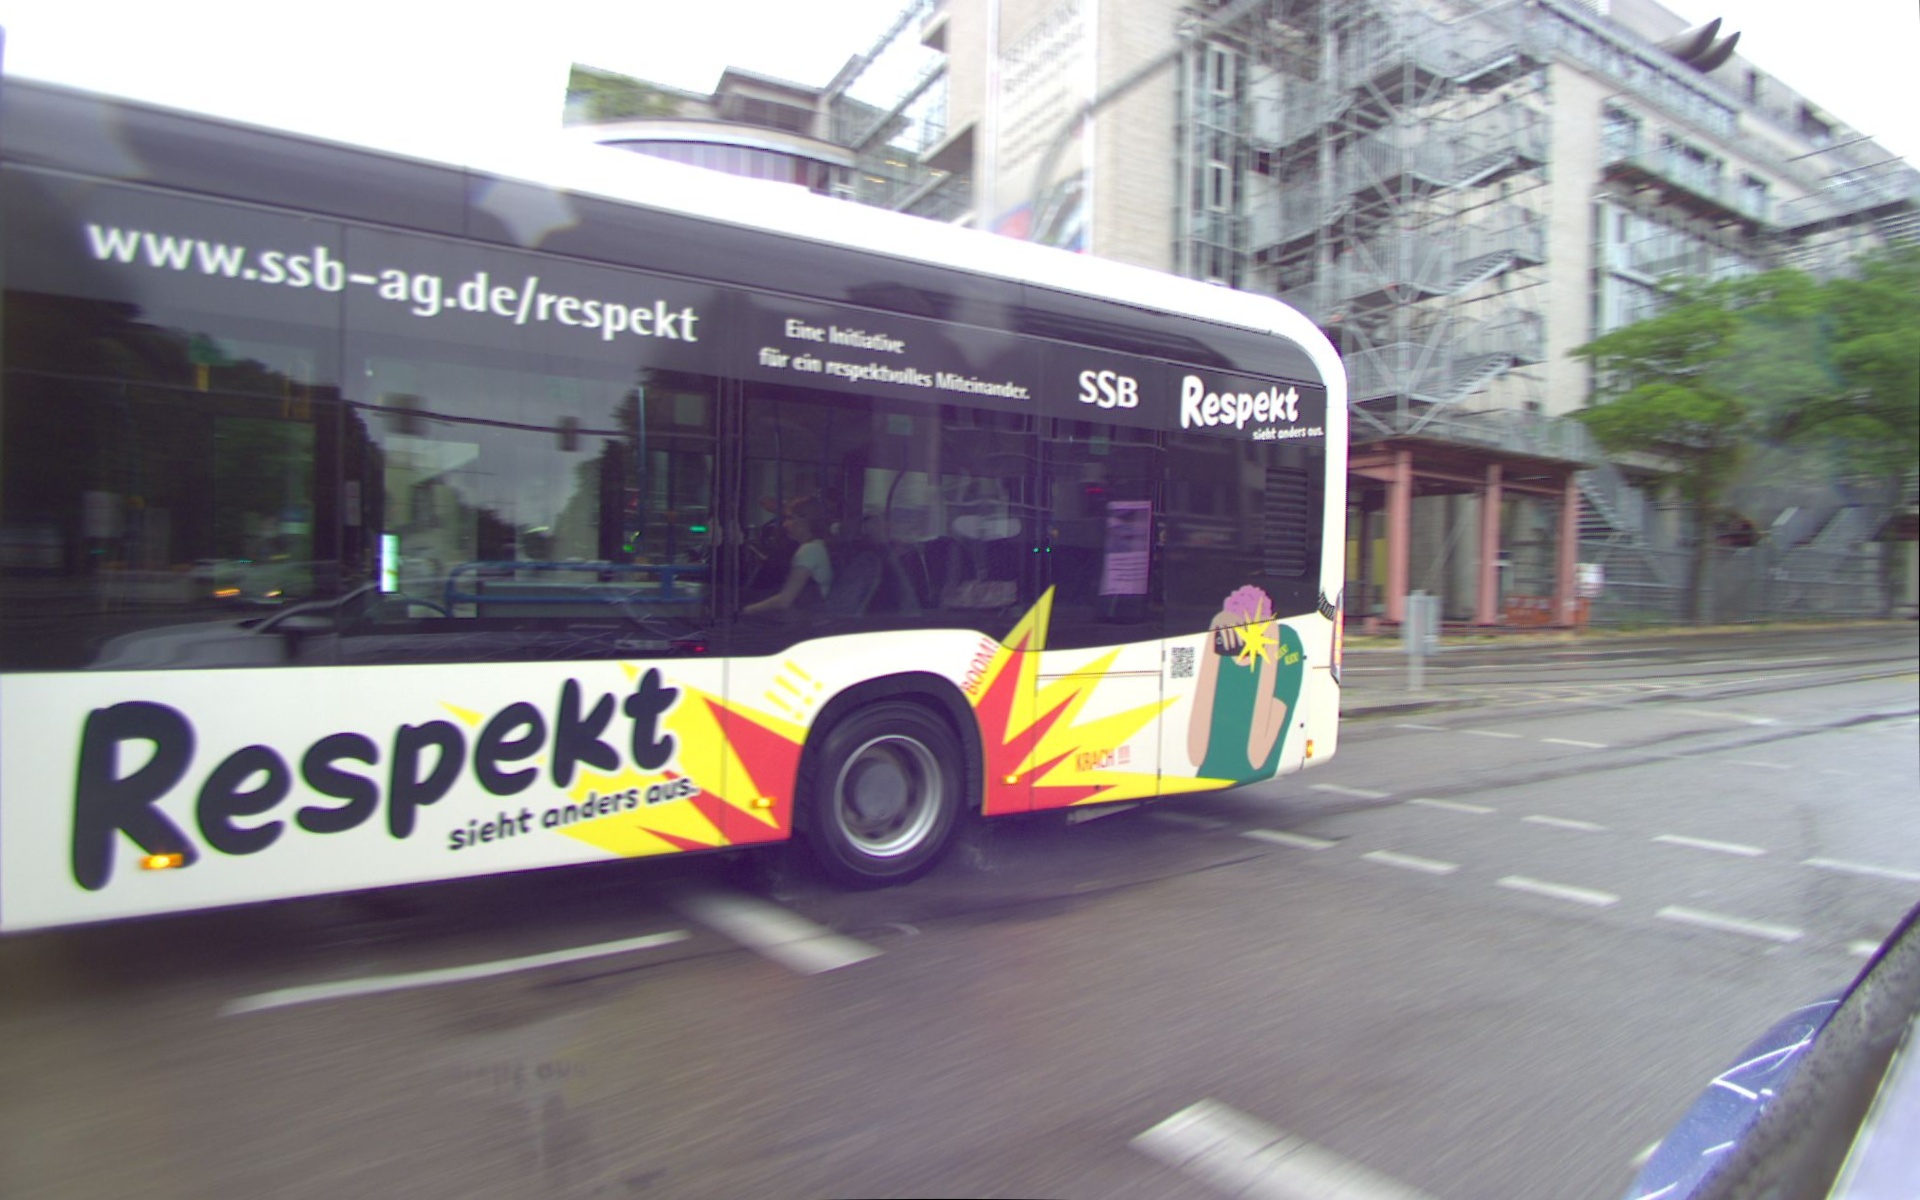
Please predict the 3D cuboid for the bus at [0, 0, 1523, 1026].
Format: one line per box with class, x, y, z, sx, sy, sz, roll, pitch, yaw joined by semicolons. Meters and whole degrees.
bus;-0.877;-0.428;6.052;9.515;3.483;2.896;0;1;-30
